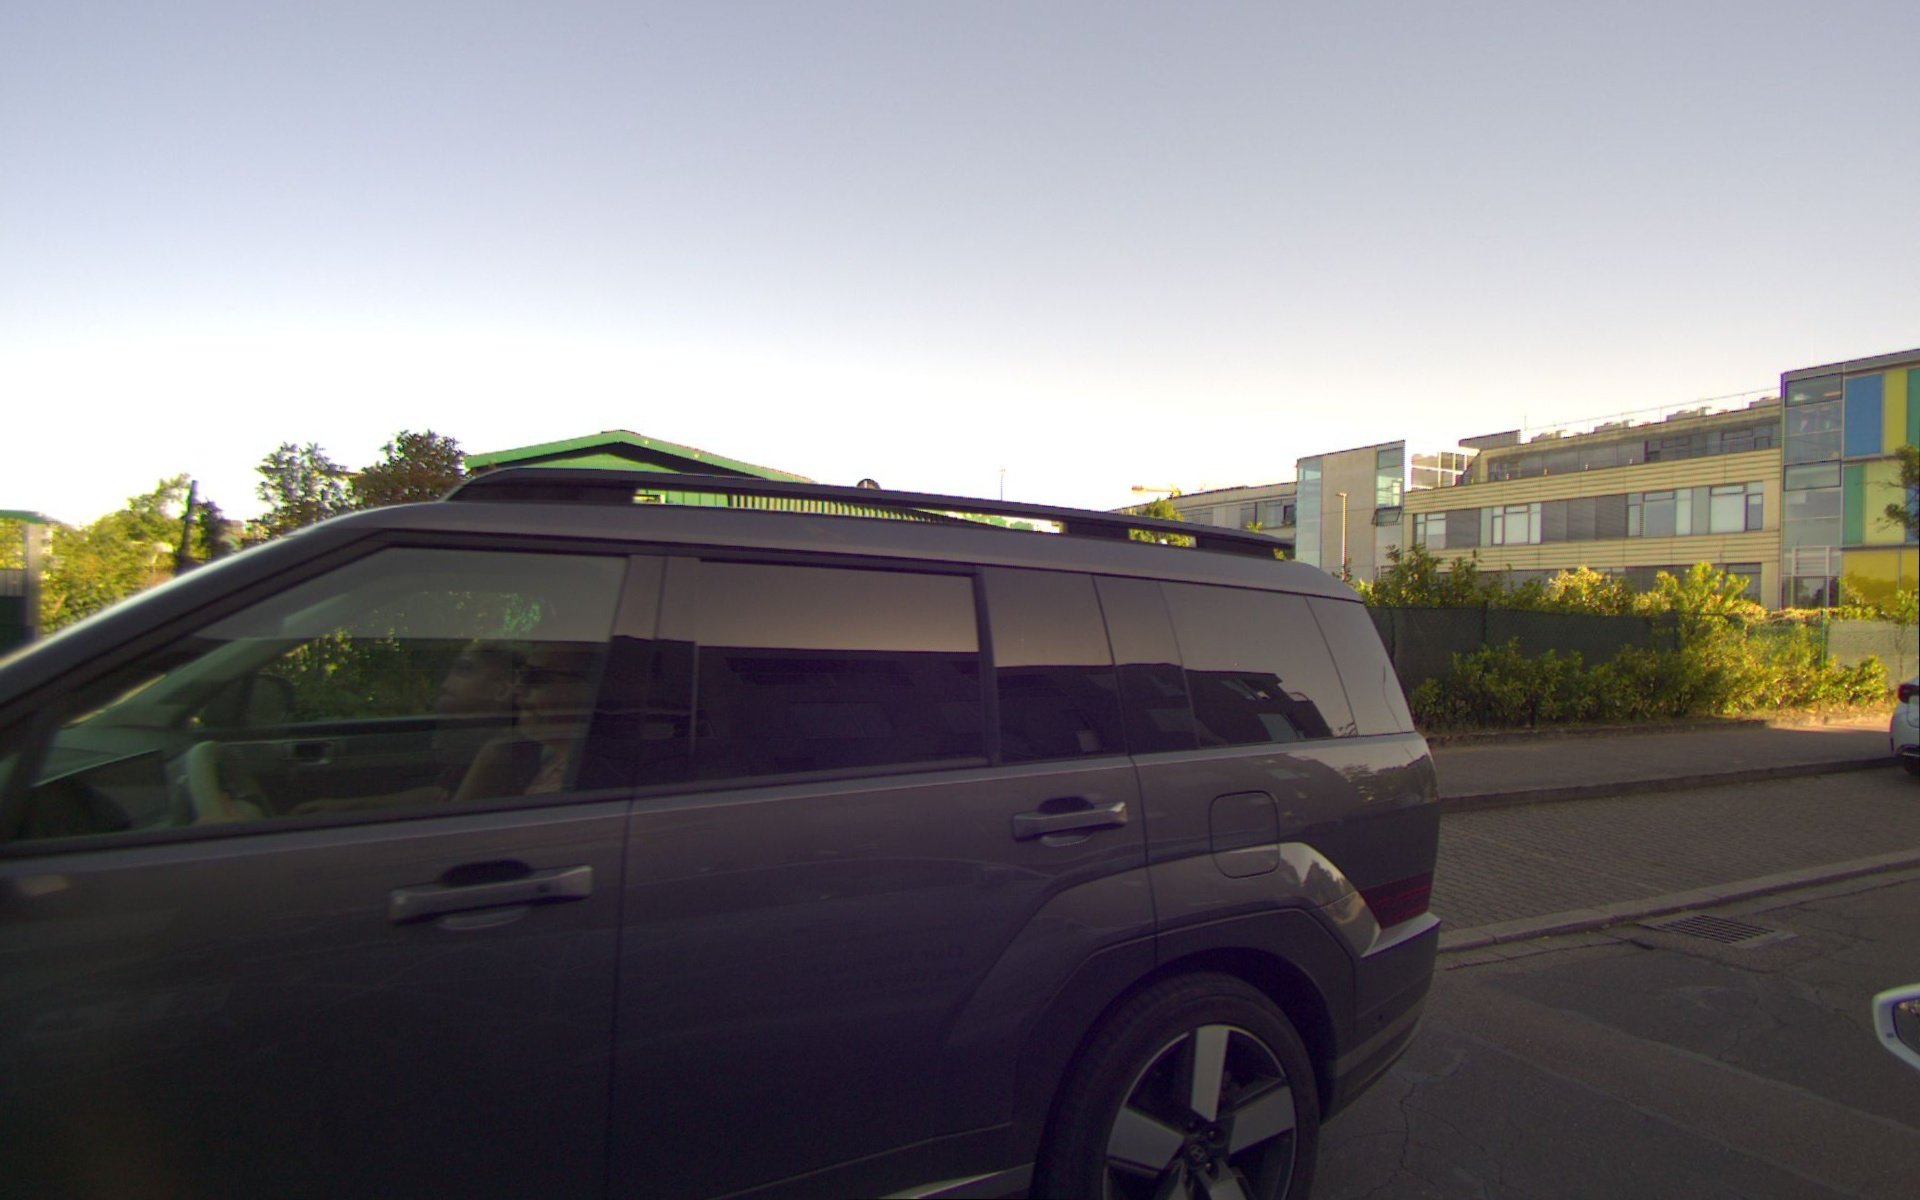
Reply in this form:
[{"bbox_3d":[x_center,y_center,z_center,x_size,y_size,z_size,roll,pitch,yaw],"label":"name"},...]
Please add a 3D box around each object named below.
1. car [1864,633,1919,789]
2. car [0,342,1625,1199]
[{"bbox_3d":[11.350,1.125,10.122,4.481,1.465,1.741,1,1,-26],"label":"car"},{"bbox_3d":[-0.811,0.599,2.436,4.775,1.750,1.936,1,-1,-26],"label":"car"}]
